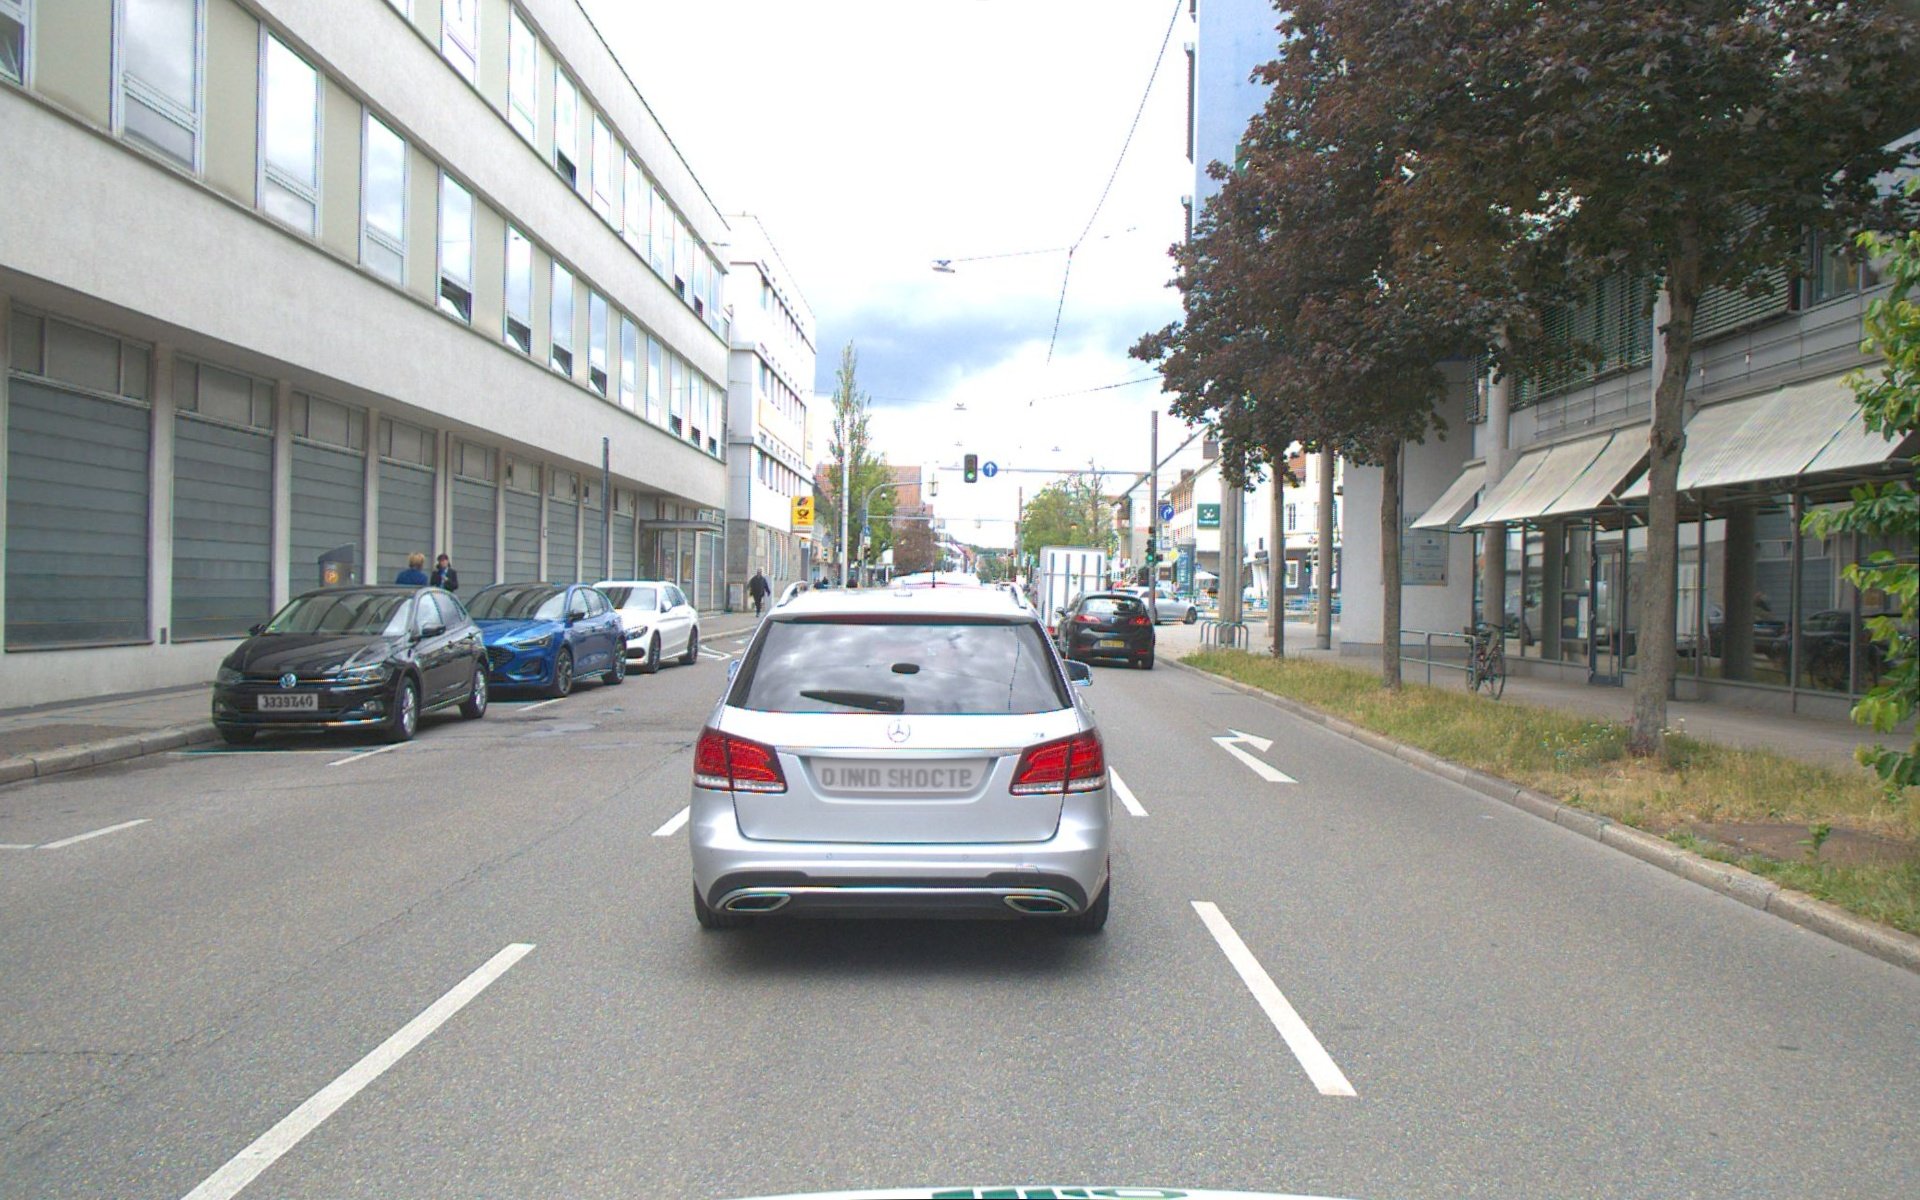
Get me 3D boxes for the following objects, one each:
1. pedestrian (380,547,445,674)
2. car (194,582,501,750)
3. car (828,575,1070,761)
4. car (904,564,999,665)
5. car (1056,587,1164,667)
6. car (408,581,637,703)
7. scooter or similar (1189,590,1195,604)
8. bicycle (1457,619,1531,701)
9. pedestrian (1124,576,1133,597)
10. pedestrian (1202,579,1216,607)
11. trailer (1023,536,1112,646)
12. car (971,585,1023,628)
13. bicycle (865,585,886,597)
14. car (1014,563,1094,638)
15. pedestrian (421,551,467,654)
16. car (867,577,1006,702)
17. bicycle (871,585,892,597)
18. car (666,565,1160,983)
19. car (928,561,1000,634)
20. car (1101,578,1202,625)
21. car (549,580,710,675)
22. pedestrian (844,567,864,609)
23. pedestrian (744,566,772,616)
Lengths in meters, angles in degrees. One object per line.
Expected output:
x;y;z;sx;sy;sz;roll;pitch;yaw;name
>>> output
-7.739;0.137;23.403;0.577;1.748;1.055;1;0;-1;pedestrian
-5.946;0.564;16.548;1.681;1.450;3.869;-1;1;-1;car
0.030;0.552;15.946;1.697;1.534;4.003;1;1;9;car
-0.197;0.241;31.714;1.699;1.789;3.999;1;1;-1;car
2.934;0.486;33.005;1.699;1.435;3.999;1;1;-1;car
-5.760;0.491;22.337;1.777;1.450;4.266;-1;1;2;car
16.931;-0.201;120.588;0.266;1.019;1.028;1;0;-3;scooter or similar
7.836;0.859;24.344;0.353;1.105;2.027;2;0;-1;bicycle
13.404;-1.062;131.254;0.566;1.695;0.650;2;0;-4;pedestrian
15.553;-0.457;103.404;0.636;1.748;0.703;1;0;33;pedestrian
2.794;-0.256;43.733;1.840;2.658;4.322;3;1;-1;trailer
1.294;0.194;59.312;1.699;1.435;3.999;1;1;-1;car
-7.632;-0.786;149.480;1.902;1.047;0.529;2;0;-9;bicycle
2.691;-0.021;48.325;1.840;1.979;4.905;3;1;-1;car
-8.876;0.041;28.449;0.577;1.748;0.649;1;0;-2;pedestrian
-0.331;0.470;22.486;1.699;1.534;3.999;1;1;-1;car
-7.282;-0.806;153.461;1.902;1.047;0.529;2;0;-9;bicycle
-0.215;0.621;8.195;1.808;1.534;4.170;1;1;-1;car
0.067;-0.088;43.833;1.791;1.816;3.999;1;1;-1;car
7.658;0.080;65.887;1.708;1.633;4.535;4;1;40;car
-5.535;0.403;28.249;1.635;1.459;4.554;-1;1;2;car
-4.494;-0.502;70.218;0.634;1.748;0.783;2;1;8;pedestrian
-7.215;-0.315;59.122;0.844;1.748;1.031;2;0;-1;pedestrian
